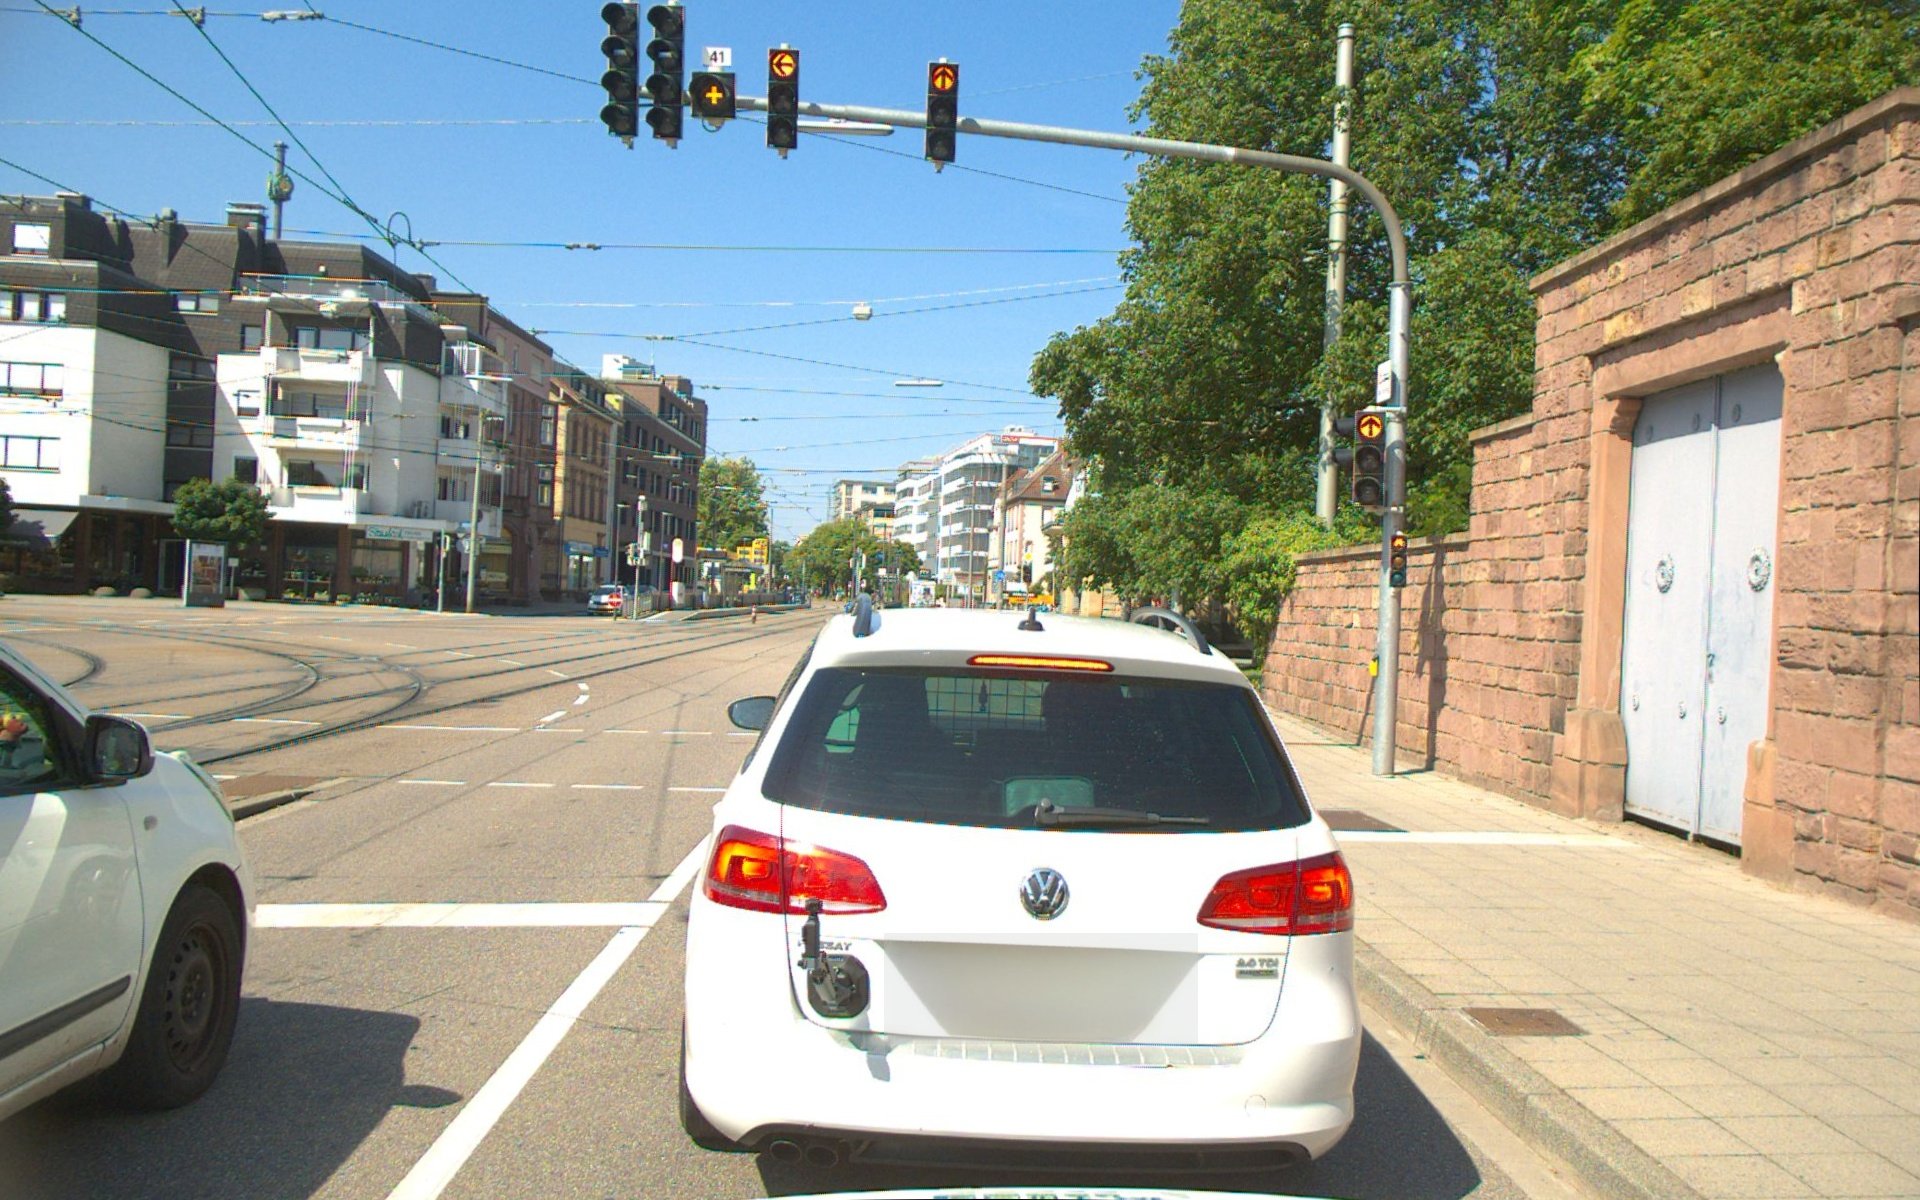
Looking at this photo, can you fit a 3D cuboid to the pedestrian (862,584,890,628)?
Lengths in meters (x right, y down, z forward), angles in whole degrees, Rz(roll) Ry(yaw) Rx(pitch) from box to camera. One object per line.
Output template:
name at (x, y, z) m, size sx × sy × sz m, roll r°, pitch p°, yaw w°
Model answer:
pedestrian at (-3.615, 0.247, 71.332) m, size 0.815 × 1.841 × 0.827 m, roll 2°, pitch 0°, yaw 31°

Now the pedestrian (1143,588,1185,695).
pedestrian at (3.045, 0.615, 24.751) m, size 0.529 × 1.576 × 0.663 m, roll 0°, pitch 0°, yaw -2°

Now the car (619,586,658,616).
car at (-17.055, 0.041, 87.852) m, size 1.542 × 1.484 × 3.811 m, roll 2°, pitch 0°, yaw -4°

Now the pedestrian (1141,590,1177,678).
pedestrian at (3.992, 0.673, 33.151) m, size 0.636 × 1.711 × 0.708 m, roll 2°, pitch 0°, yaw 5°

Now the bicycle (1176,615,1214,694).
bicycle at (3.522, 0.796, 24.768) m, size 0.524 × 1.131 × 1.808 m, roll 1°, pitch -1°, yaw 8°

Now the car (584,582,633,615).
car at (-16.987, -0.058, 80.094) m, size 1.593 × 1.456 × 3.961 m, roll 4°, pitch 0°, yaw -3°

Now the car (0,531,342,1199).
car at (-2.899, 0.633, 3.431) m, size 1.730 × 1.588 × 4.066 m, roll 1°, pitch 0°, yaw -1°

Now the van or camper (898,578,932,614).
van or camper at (-4.371, -0.392, 158.734) m, size 2.886 × 3.235 × 6.607 m, roll 2°, pitch 0°, yaw -4°

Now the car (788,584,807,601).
car at (-19.669, -0.887, 200.175) m, size 1.954 × 2.049 × 3.998 m, roll 1°, pitch 0°, yaw -3°

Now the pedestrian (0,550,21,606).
pedestrian at (-32.859, -0.778, 56.038) m, size 1.101 × 1.868 × 1.432 m, roll 2°, pitch 0°, yaw 38°

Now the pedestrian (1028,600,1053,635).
pedestrian at (3.641, 0.803, 74.591) m, size 0.840 × 1.536 × 0.780 m, roll 2°, pitch 0°, yaw 29°

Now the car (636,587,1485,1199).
car at (0.186, 0.725, 5.352) m, size 1.717 × 1.442 × 3.852 m, roll 2°, pitch 0°, yaw -1°

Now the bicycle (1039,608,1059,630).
bicycle at (4.865, 1.052, 90.398) m, size 0.710 × 1.159 × 2.196 m, roll 2°, pitch 0°, yaw 11°
